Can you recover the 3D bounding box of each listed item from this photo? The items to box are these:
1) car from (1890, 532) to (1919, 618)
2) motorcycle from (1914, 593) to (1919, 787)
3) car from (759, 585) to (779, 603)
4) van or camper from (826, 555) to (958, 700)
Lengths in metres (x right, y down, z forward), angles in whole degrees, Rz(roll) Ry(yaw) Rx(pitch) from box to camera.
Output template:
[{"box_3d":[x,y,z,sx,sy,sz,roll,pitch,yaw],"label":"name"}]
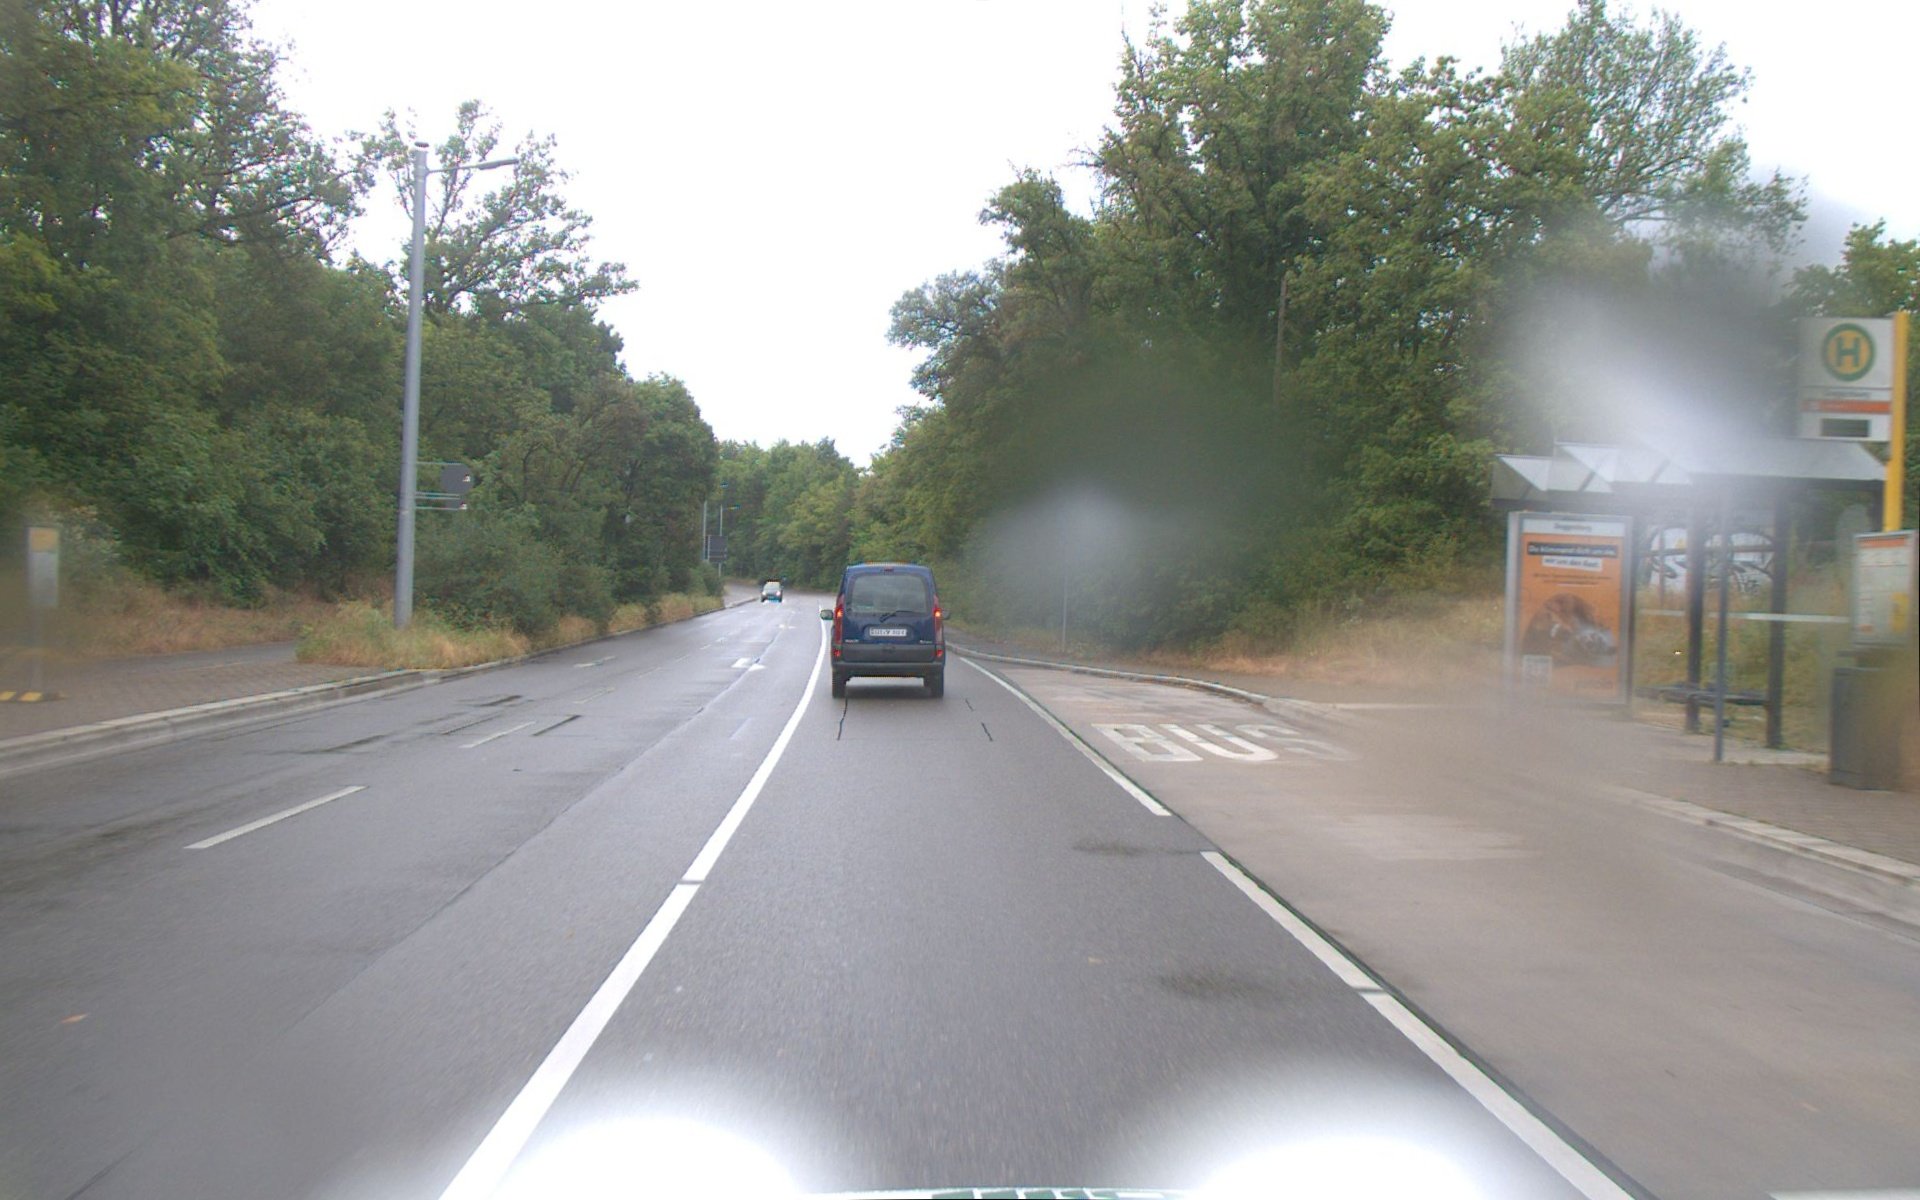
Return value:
[{"box_3d":[18.082,-0.431,28.320,1.846,1.505,4.784,4,-1,4],"label":"car"},{"box_3d":[6.614,0.611,10.438,0.576,1.311,1.539,1,0,13],"label":"motorcycle"},{"box_3d":[-15.660,-0.472,135.878,1.568,1.466,3.986,0,1,-6],"label":"car"},{"box_3d":[-1.009,0.416,24.254,1.678,1.858,3.997,3,-2,-3],"label":"van or camper"}]
